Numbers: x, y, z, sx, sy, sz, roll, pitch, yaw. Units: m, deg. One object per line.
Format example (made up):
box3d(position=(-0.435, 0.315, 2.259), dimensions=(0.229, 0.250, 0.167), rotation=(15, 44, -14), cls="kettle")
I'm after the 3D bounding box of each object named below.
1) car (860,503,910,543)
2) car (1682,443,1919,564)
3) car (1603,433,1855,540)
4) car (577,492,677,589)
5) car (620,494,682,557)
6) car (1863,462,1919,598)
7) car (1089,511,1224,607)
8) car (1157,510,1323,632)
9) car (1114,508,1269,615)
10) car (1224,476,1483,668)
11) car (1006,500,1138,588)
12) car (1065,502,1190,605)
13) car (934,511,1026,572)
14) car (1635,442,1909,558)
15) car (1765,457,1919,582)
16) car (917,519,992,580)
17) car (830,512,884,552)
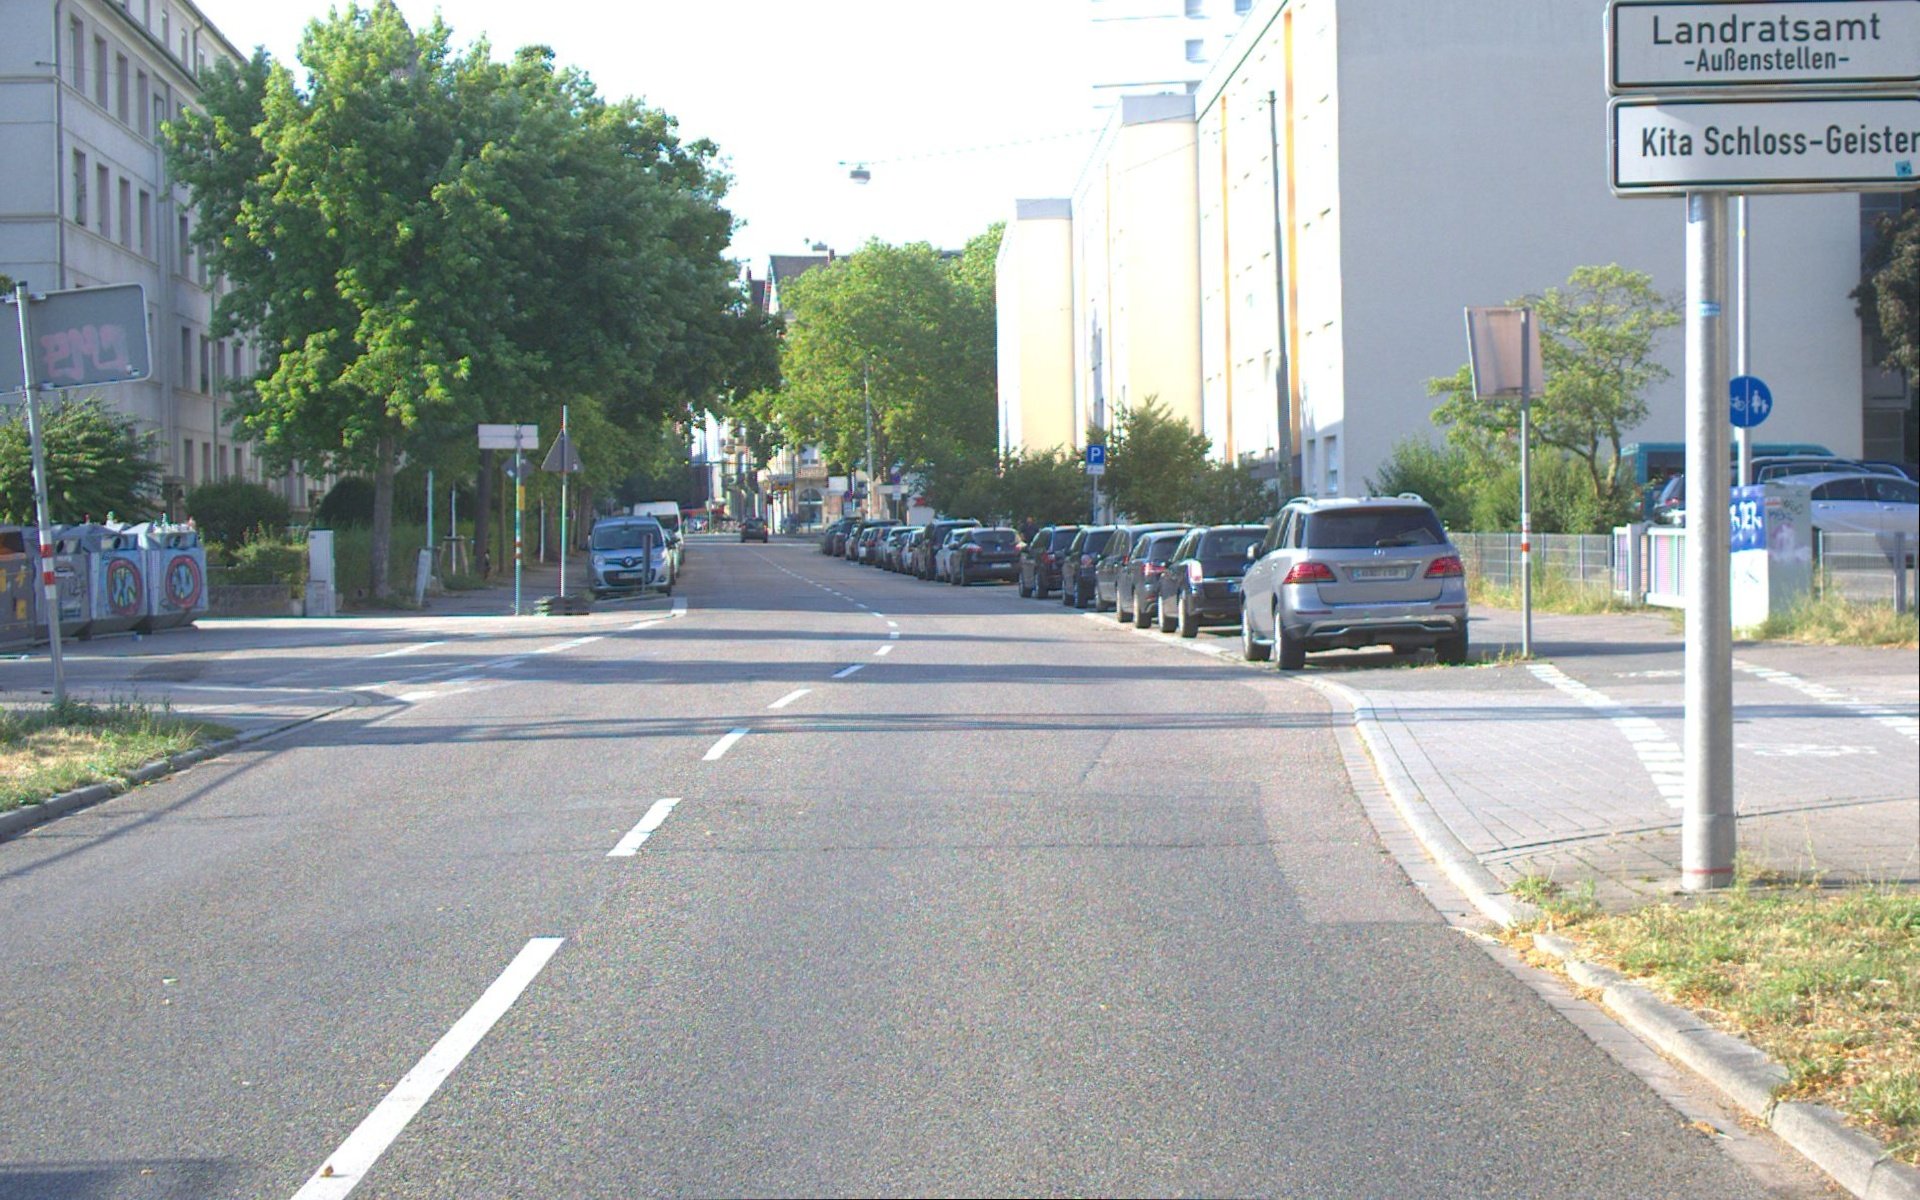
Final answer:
box3d(position=(-3.040, -3.081, 138.223), dimensions=(1.837, 1.496, 4.173), rotation=(1, 0, -3), cls="car")
box3d(position=(13.694, -1.508, 54.484), dimensions=(3.986, 1.788, 2.000), rotation=(1, 0, -4), cls="car")
box3d(position=(13.828, -2.027, 61.958), dimensions=(3.986, 1.788, 2.000), rotation=(1, 0, -4), cls="car")
box3d(position=(-7.290, -1.285, 75.511), dimensions=(1.841, 1.890, 4.487), rotation=(5, 0, -3), cls="car")
box3d(position=(-12.538, -3.006, 139.851), dimensions=(2.357, 2.437, 6.166), rotation=(1, 0, -4), cls="car")
box3d(position=(12.579, -0.847, 42.405), dimensions=(1.653, 1.656, 4.000), rotation=(1, 0, -2), cls="car")
box3d(position=(3.275, -0.719, 57.934), dimensions=(1.650, 1.431, 3.961), rotation=(-1, 3, -6), cls="car")
box3d(position=(3.796, -0.389, 47.274), dimensions=(1.741, 1.535, 4.440), rotation=(-2, 0, -2), cls="car")
box3d(position=(3.525, -0.580, 53.137), dimensions=(1.901, 1.524, 4.811), rotation=(1, 0, -2), cls="car")
box3d(position=(4.067, -0.289, 36.305), dimensions=(1.921, 1.773, 4.811), rotation=(-4, 0, -2), cls="car")
box3d(position=(2.255, -1.136, 70.558), dimensions=(1.886, 1.556, 4.947), rotation=(-6, 1, -6), cls="car")
box3d(position=(3.057, -0.837, 63.456), dimensions=(1.901, 1.773, 4.582), rotation=(1, 0, -2), cls="car")
box3d(position=(0.488, -1.486, 88.391), dimensions=(1.798, 1.502, 4.622), rotation=(-1, 0, -6), cls="car")
box3d(position=(13.456, -1.645, 57.118), dimensions=(3.986, 1.788, 2.000), rotation=(1, 0, -2), cls="car")
box3d(position=(14.432, -1.177, 51.875), dimensions=(3.986, 1.788, 2.000), rotation=(1, 0, -4), cls="car")
box3d(position=(-0.173, -1.441, 99.351), dimensions=(1.771, 1.672, 4.647), rotation=(-1, 0, -5), cls="car")
box3d(position=(-4.814, -3.170, 160.091), dimensions=(1.897, 1.645, 4.344), rotation=(4, 2, -9), cls="car")
